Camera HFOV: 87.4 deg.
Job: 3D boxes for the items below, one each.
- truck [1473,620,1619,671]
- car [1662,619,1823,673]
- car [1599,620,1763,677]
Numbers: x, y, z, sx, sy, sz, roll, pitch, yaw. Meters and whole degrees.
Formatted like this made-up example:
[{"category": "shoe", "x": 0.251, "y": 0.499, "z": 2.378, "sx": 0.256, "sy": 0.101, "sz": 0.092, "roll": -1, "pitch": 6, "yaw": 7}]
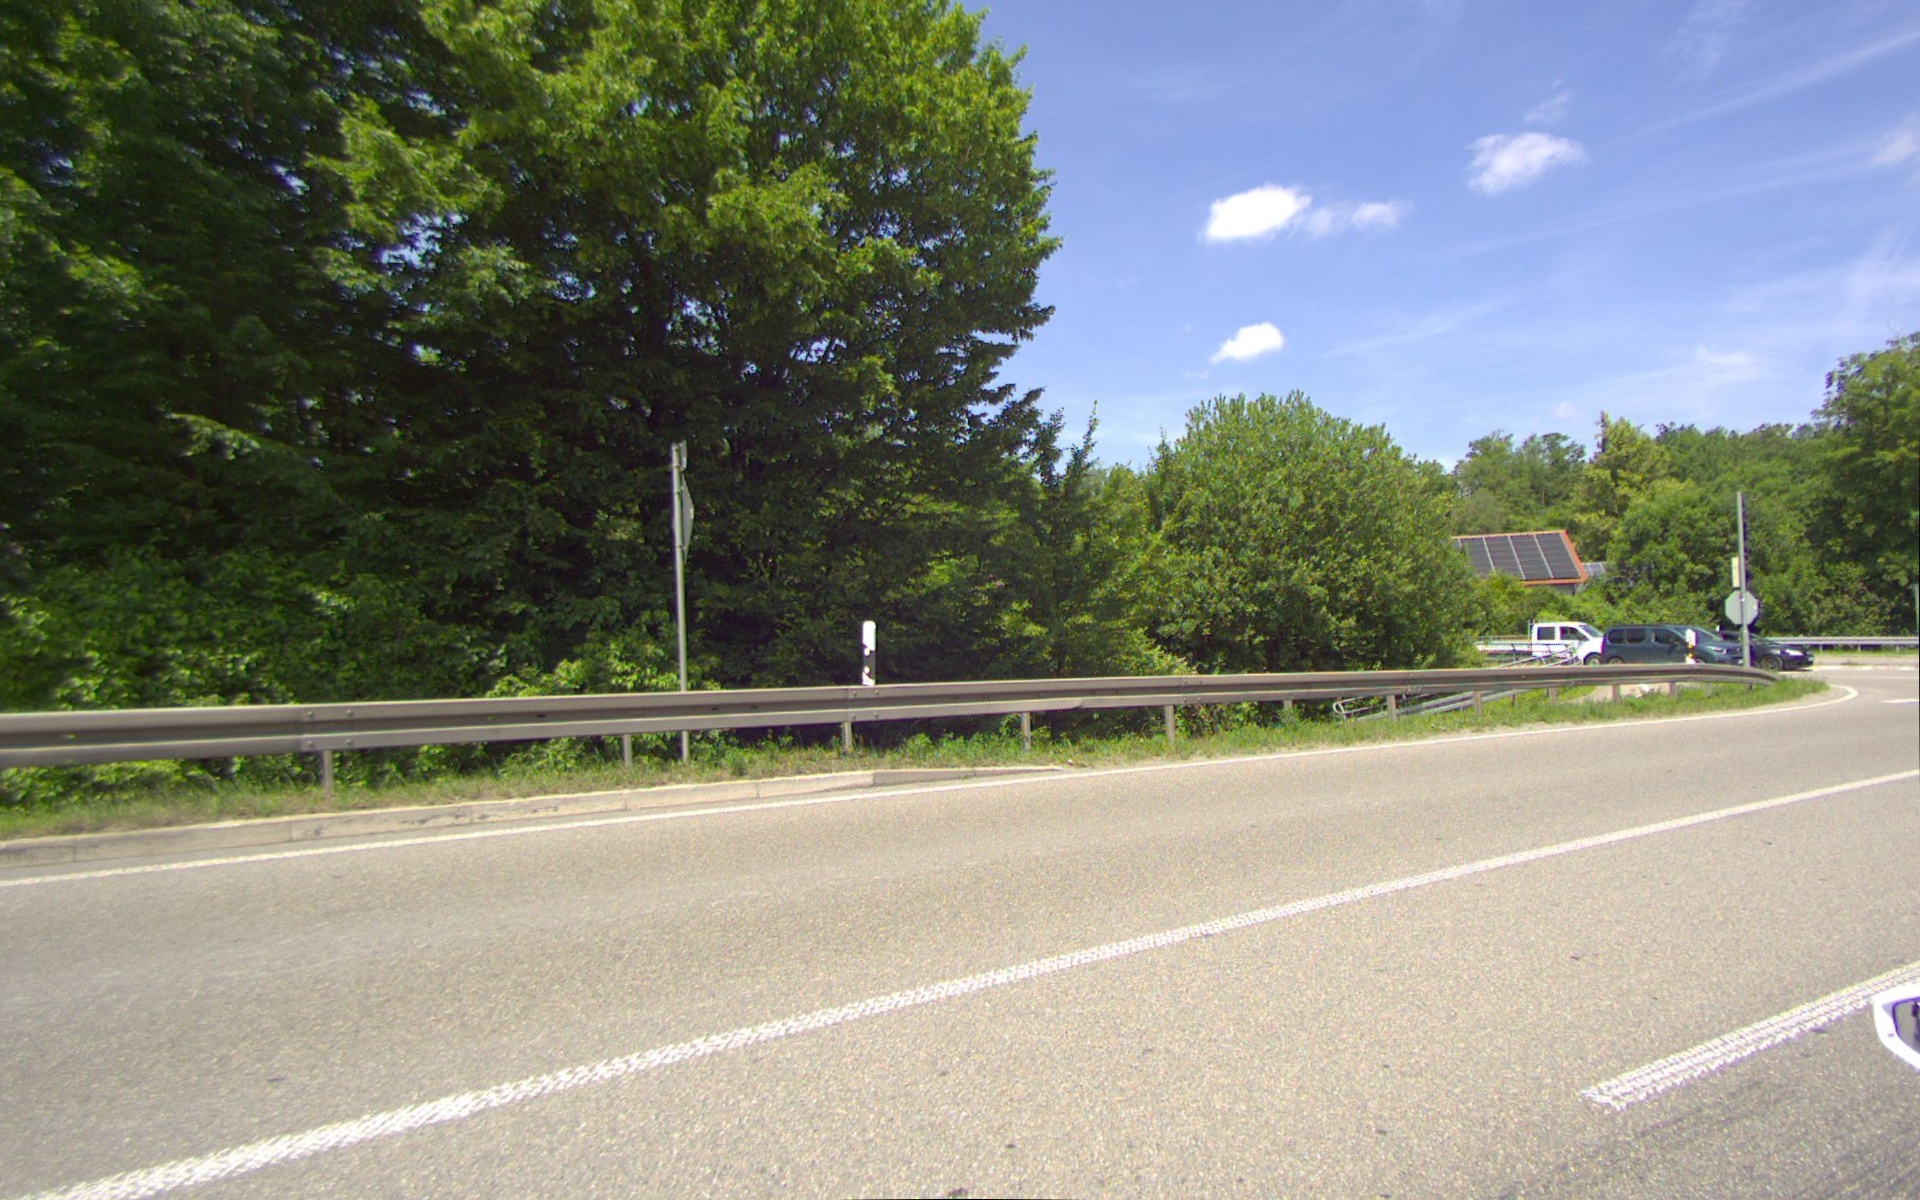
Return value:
[{"category": "truck", "x": 24.201, "y": 1.844, "z": 41.626, "sx": 2.028, "sy": 1.815, "sz": 4.833, "roll": 3, "pitch": -1, "yaw": -41}, {"category": "car", "x": 28.210, "y": 1.624, "z": 36.363, "sx": 1.969, "sy": 1.793, "sz": 4.229, "roll": 1, "pitch": -1, "yaw": -19}, {"category": "car", "x": 24.595, "y": 1.606, "z": 34.466, "sx": 1.969, "sy": 1.793, "sz": 4.229, "roll": 1, "pitch": -1, "yaw": -19}]
